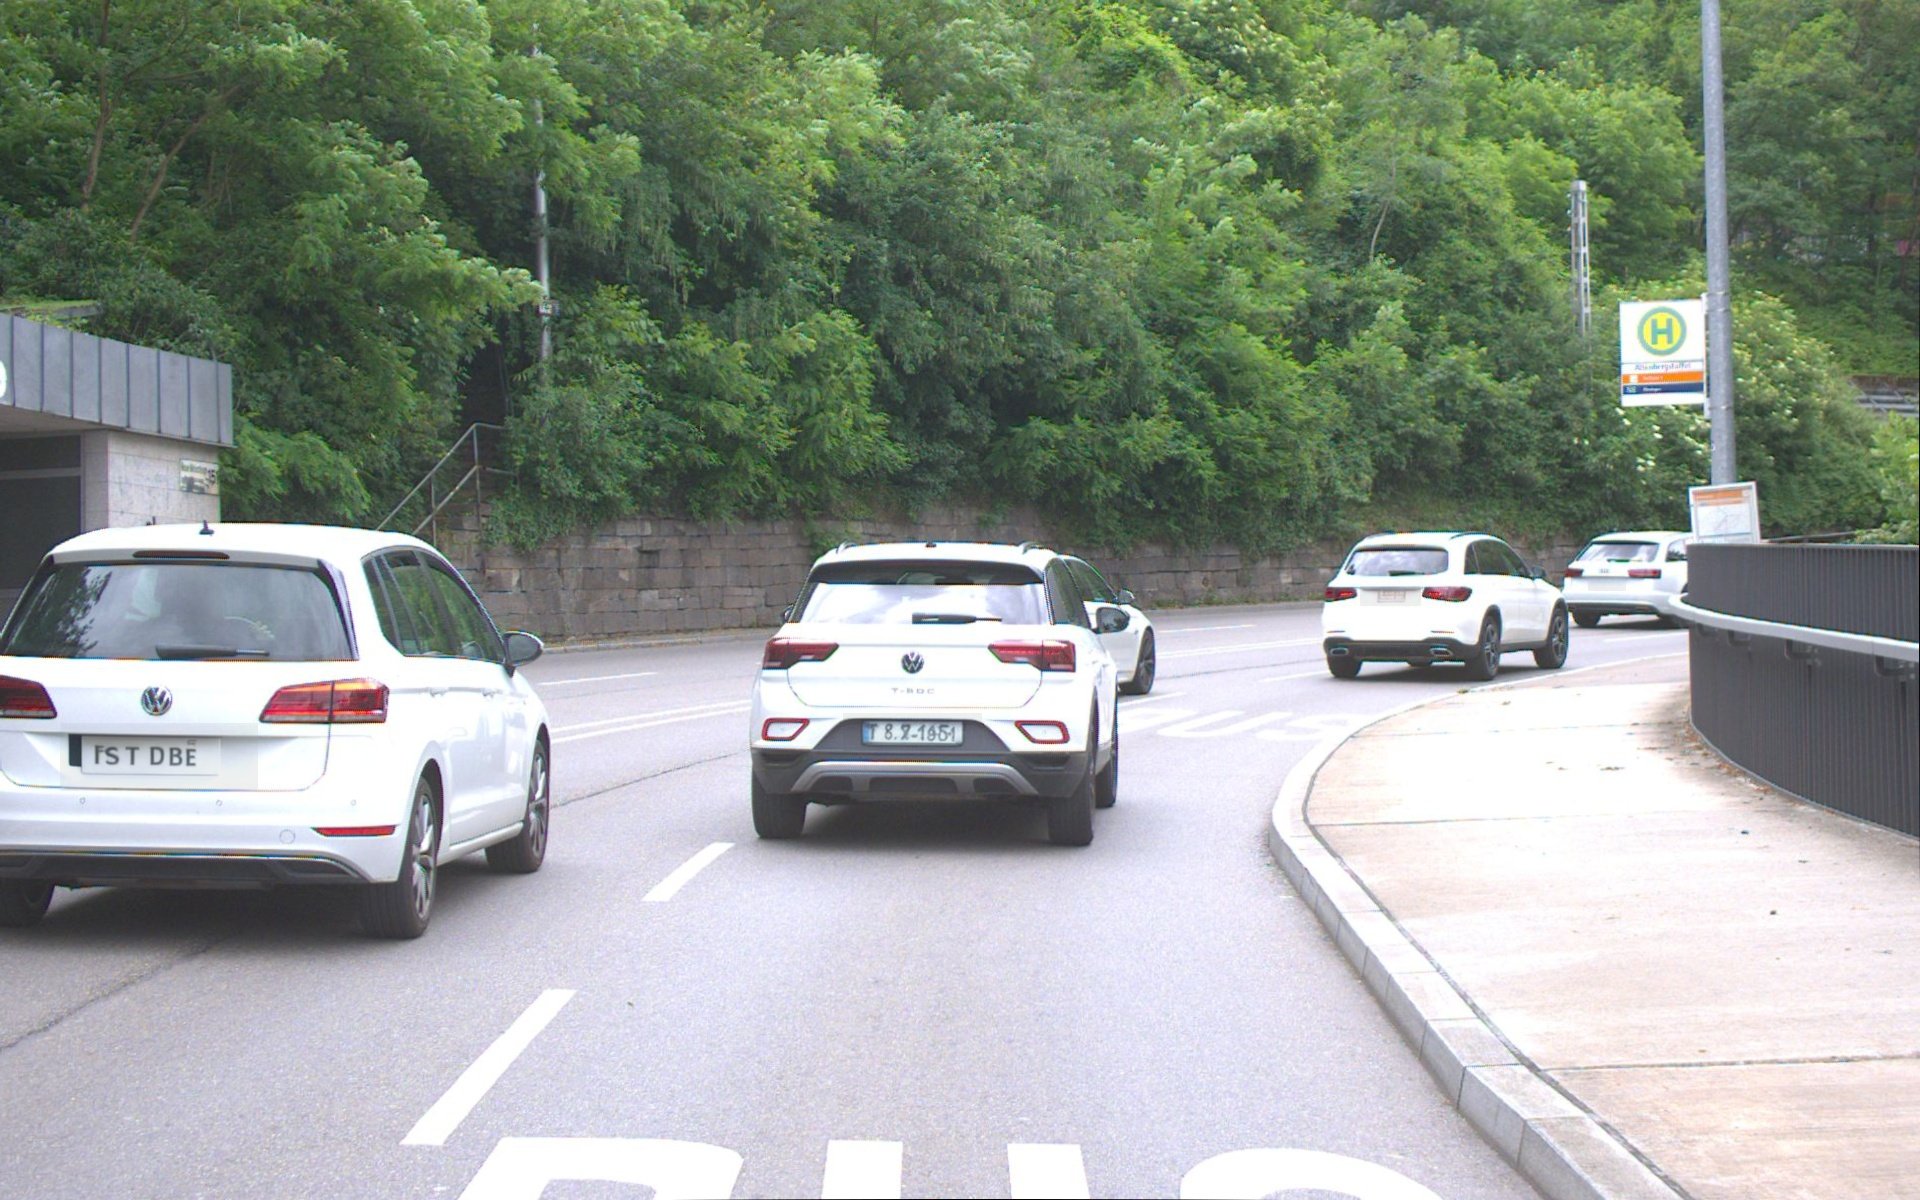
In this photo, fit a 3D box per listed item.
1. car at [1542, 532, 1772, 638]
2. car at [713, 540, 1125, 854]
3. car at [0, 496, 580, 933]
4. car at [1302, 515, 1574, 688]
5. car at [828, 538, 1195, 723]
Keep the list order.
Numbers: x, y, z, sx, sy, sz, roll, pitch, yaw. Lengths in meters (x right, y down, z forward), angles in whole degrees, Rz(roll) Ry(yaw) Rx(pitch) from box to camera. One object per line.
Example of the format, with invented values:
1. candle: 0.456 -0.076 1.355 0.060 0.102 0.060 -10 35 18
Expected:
1. car: 10.883 -0.217 53.488 1.745 1.514 4.299 2 1 38
2. car: -0.111 0.460 18.992 1.814 1.534 4.008 -1 1 6
3. car: -2.766 0.377 14.475 1.720 1.549 4.275 1 1 2
4. car: 5.583 0.017 39.698 1.996 1.837 4.145 2 0 24
5. car: 0.601 0.228 33.611 1.996 1.552 4.676 2 3 22
